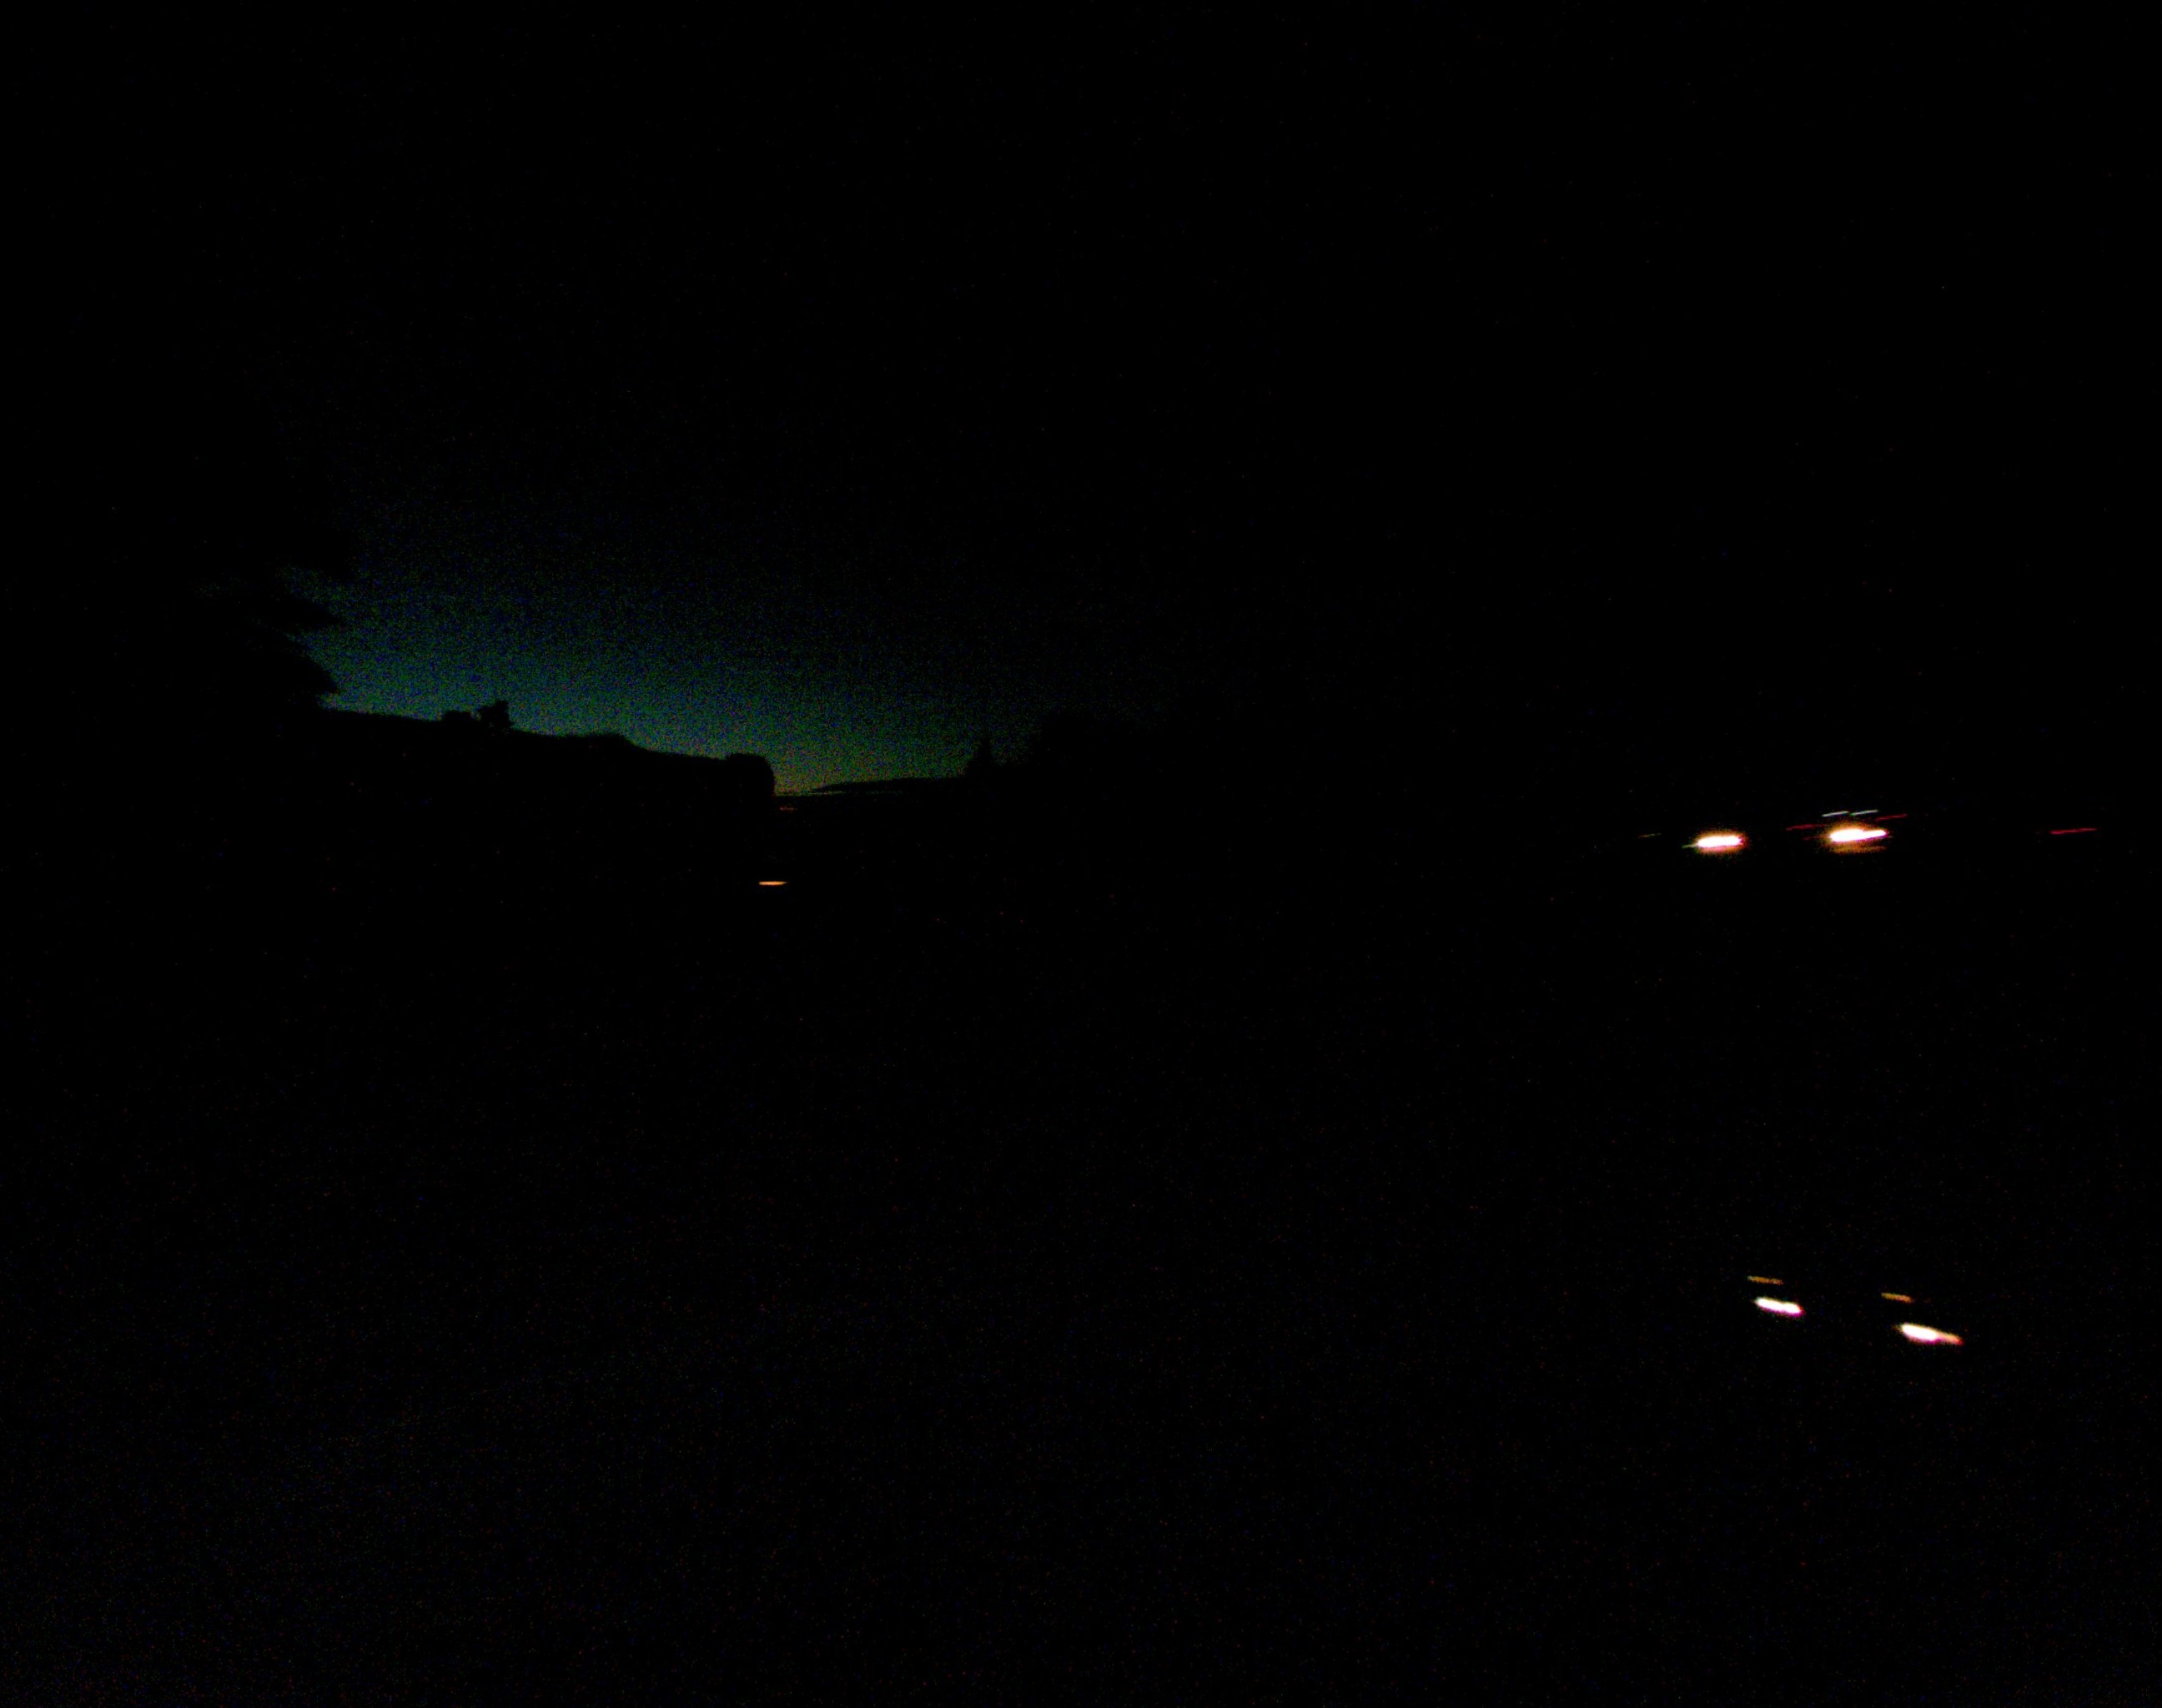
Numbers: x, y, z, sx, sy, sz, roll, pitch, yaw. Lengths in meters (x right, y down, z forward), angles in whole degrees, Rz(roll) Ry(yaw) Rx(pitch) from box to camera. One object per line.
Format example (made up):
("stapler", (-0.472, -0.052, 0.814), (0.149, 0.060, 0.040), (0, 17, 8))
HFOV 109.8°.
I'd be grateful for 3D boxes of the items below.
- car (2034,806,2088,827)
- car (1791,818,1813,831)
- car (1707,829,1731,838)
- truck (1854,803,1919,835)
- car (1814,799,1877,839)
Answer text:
("car", (97.367, -3.698, 75.549), (1.995, 2.002, 4.007), (-2, 1, 32))
("car", (127.770, -5.245, 134.635), (1.995, 2.188, 4.007), (-2, 1, 32))
("car", (88.492, -2.879, 105.374), (1.677, 1.127, 4.007), (-3, 0, 28))
("truck", (120.946, -5.205, 114.370), (3.216, 4.425, 12.783), (-2, 1, 30))
("car", (70.982, -3.161, 70.689), (2.546, 3.402, 7.797), (-3, 0, 34))
